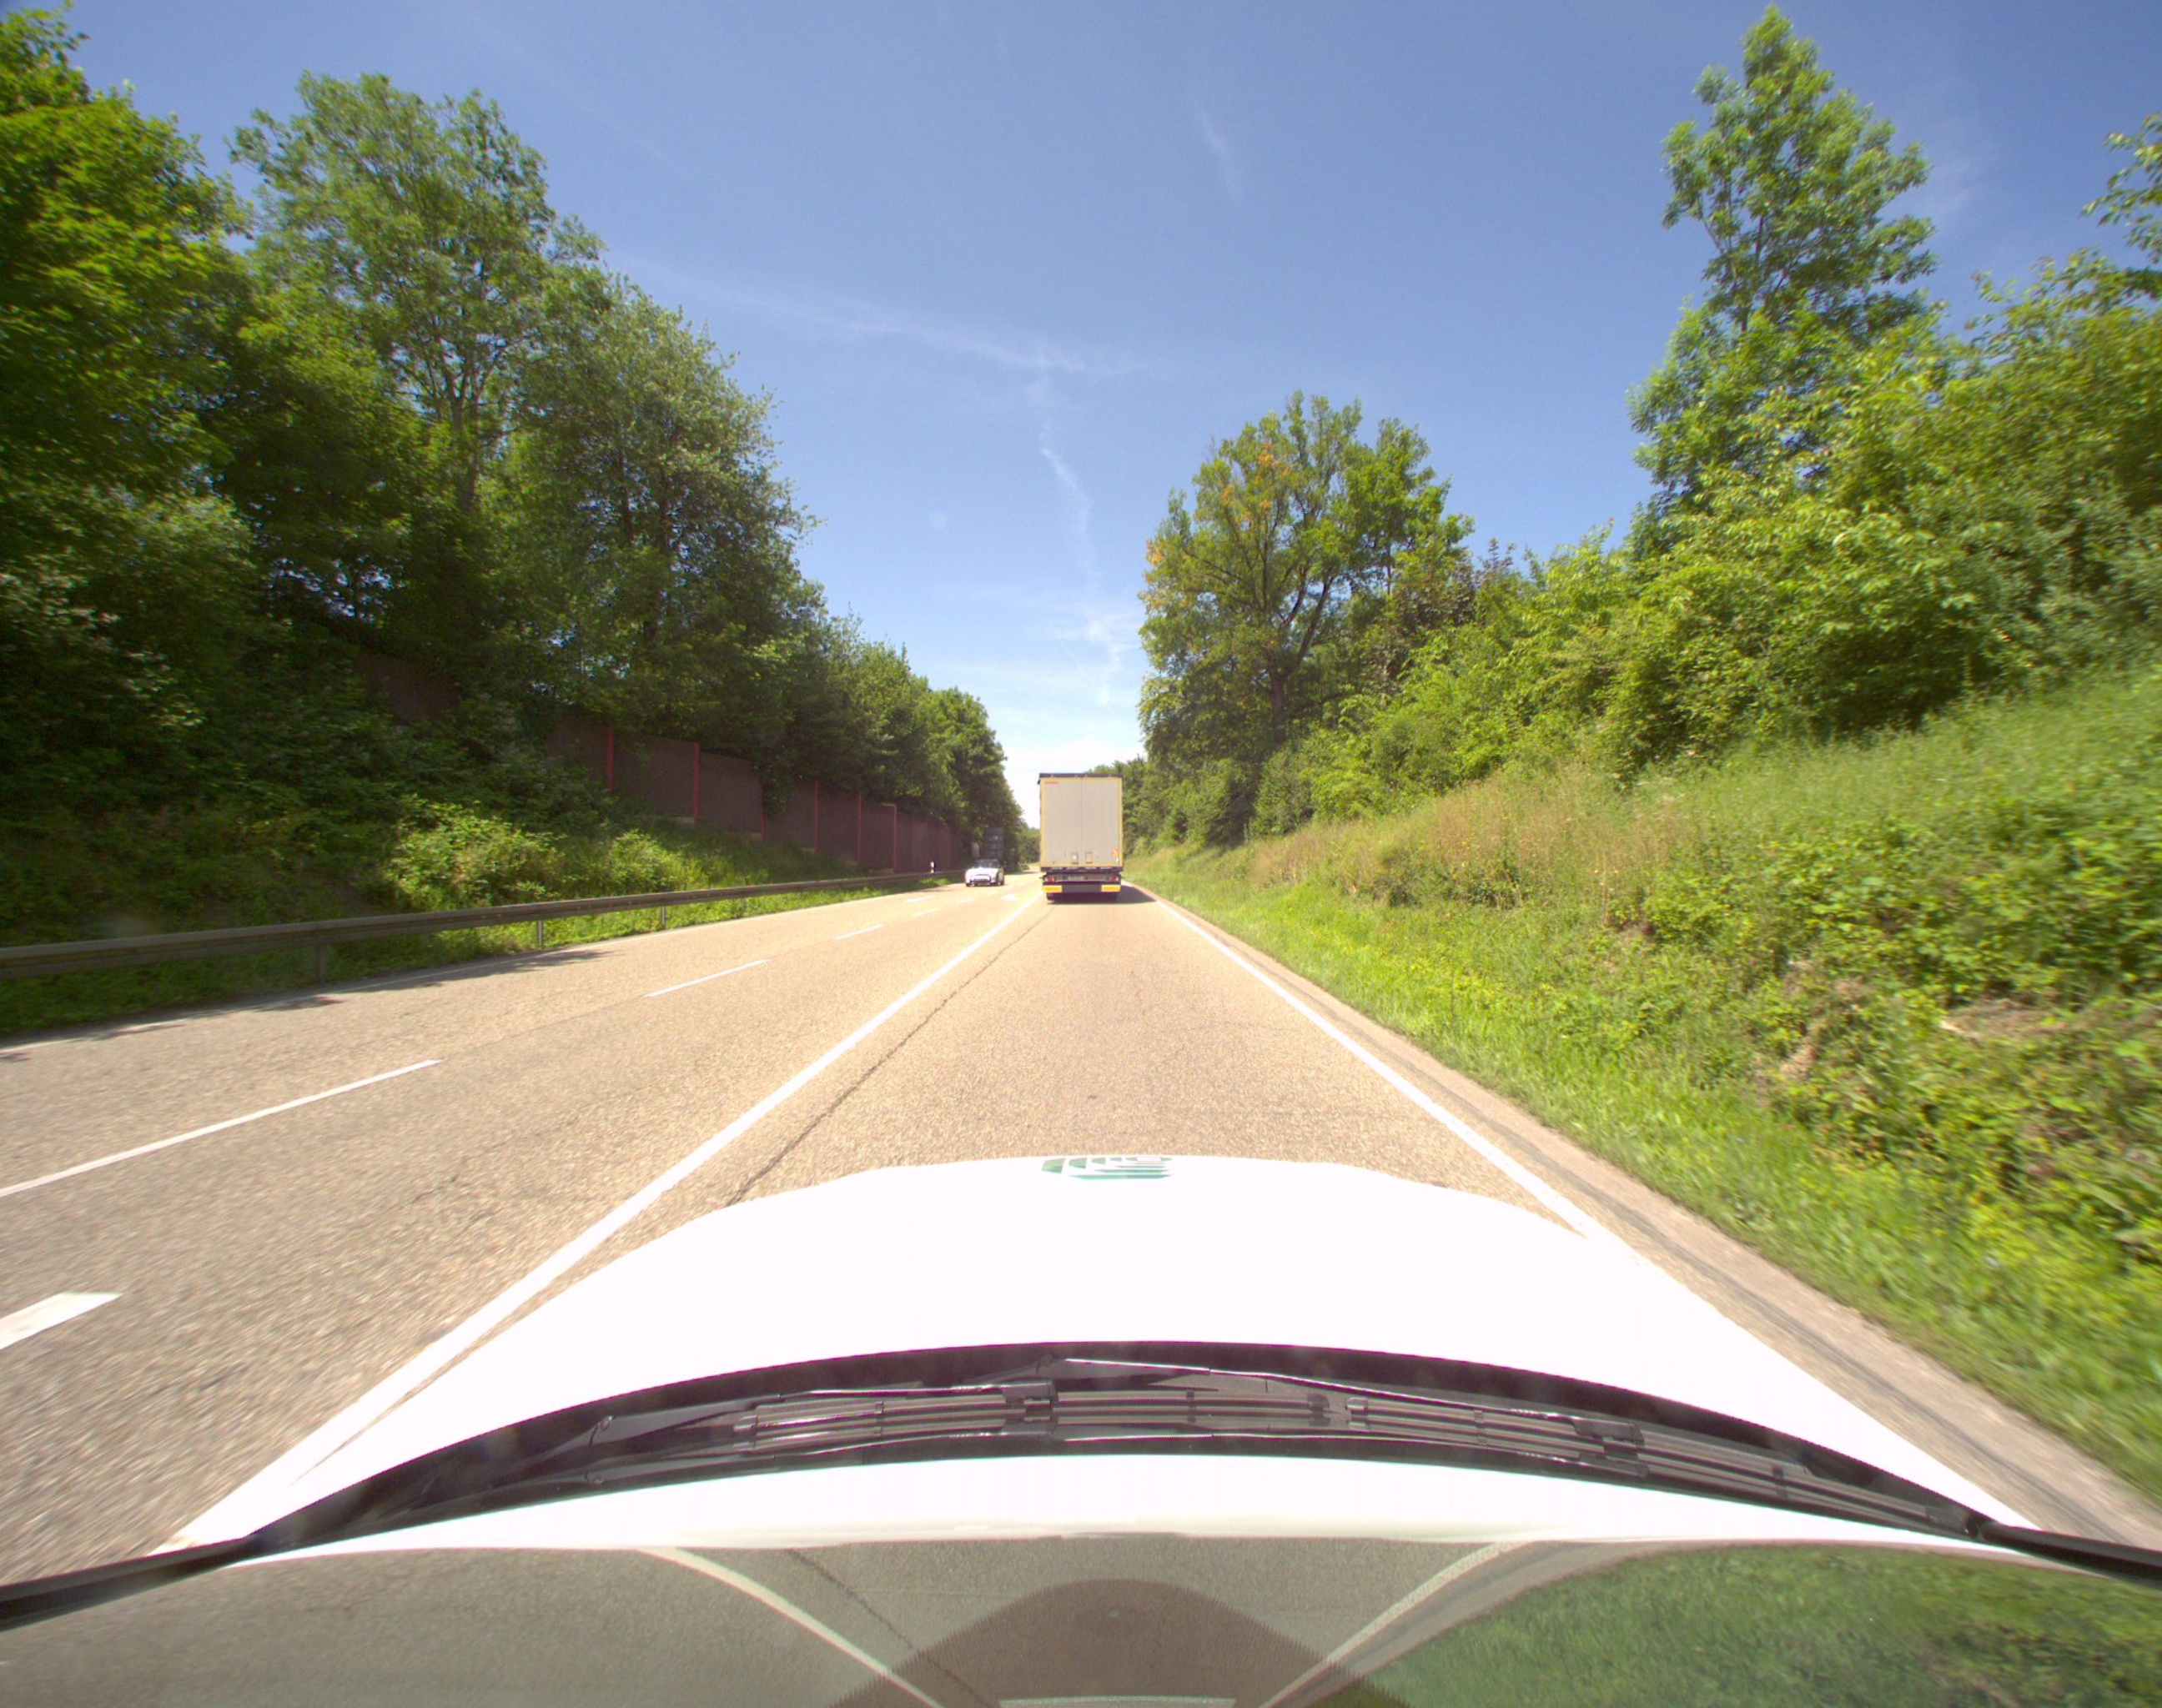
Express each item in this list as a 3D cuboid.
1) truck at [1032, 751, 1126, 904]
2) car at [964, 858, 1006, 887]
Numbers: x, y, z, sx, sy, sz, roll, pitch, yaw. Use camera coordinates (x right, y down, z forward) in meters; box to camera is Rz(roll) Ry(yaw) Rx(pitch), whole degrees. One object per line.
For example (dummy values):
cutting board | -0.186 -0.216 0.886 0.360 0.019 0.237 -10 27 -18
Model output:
truck | -0.031 -0.841 27.976 2.813 4.603 6.666 -1 1 0
car | -5.180 0.954 44.296 1.800 1.435 3.870 -1 0 0
